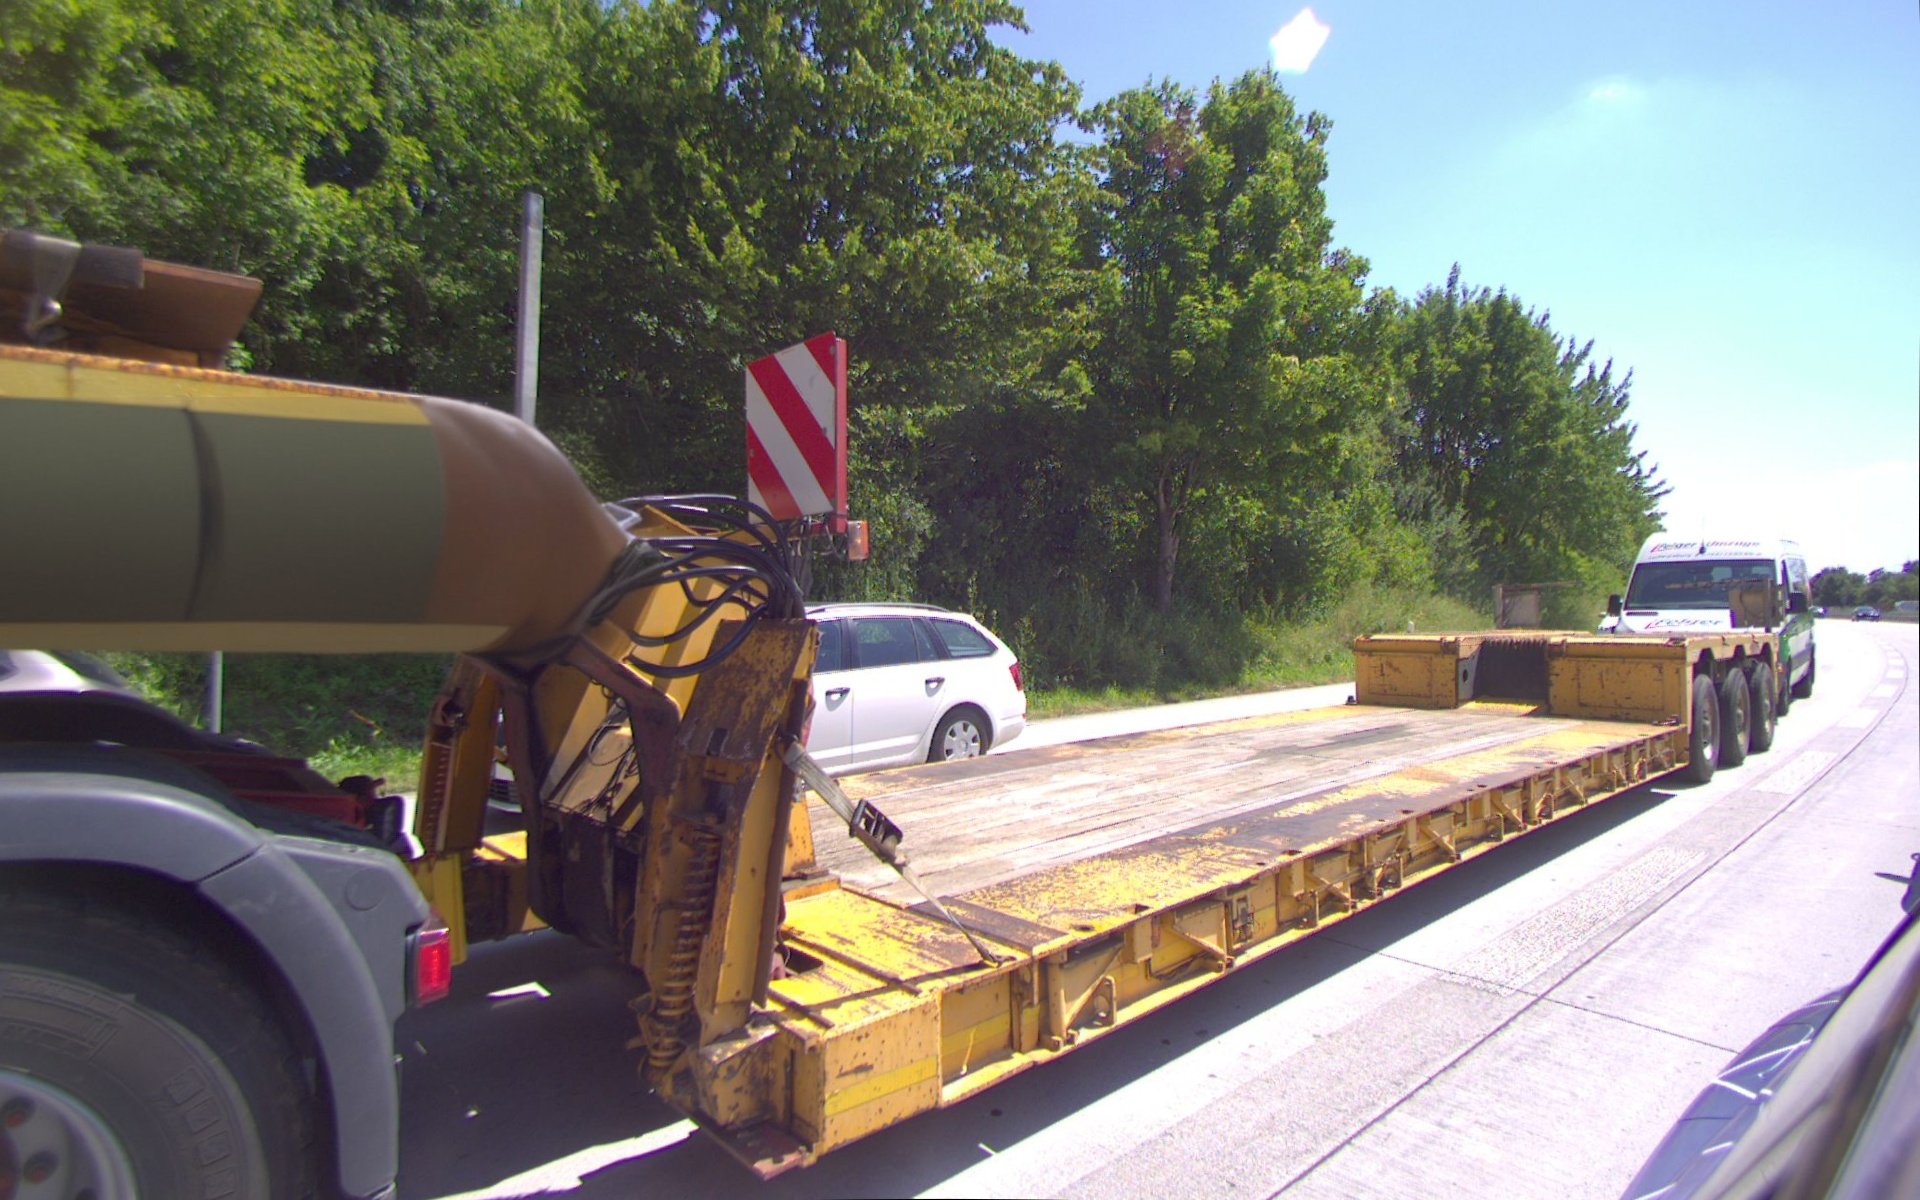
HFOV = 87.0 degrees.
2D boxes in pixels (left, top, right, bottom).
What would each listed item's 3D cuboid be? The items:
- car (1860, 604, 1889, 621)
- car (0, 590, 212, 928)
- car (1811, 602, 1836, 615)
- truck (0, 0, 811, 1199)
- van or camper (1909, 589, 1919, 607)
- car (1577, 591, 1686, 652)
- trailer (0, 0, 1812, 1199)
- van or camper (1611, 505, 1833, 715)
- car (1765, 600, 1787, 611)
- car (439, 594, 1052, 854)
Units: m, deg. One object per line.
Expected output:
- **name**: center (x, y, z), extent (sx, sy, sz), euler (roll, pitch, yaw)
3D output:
- **car**: center (89.703, 1.210, 99.301), extent (1.617, 1.504, 3.950), euler (0, 0, 35)
- **car**: center (-5.829, 0.712, 4.161), extent (4.290, 1.480, 1.770), euler (-1, 0, -42)
- **car**: center (109.767, 1.053, 128.692), extent (1.693, 1.483, 3.958), euler (0, 0, 30)
- **truck**: center (-4.037, -0.502, 0.843), extent (7.342, 3.820, 3.017), euler (0, 0, -42)
- **van or camper**: center (112.520, -0.239, 117.784), extent (2.165, 2.039, 5.568), euler (0, 0, 35)
- **car**: center (18.969, 0.540, 28.512), extent (1.768, 1.581, 4.297), euler (0, 0, 45)
- **trailer**: center (1.851, 0.110, 6.193), extent (16.076, 2.626, 3.031), euler (0, 0, -42)
- **van or camper**: center (11.750, 0.090, 15.406), extent (2.063, 2.606, 5.815), euler (0, 0, 43)
- **car**: center (117.689, 0.731, 146.022), extent (1.876, 1.483, 3.958), euler (0, 0, 30)
- **car**: center (-1.435, 0.702, 8.034), extent (4.521, 1.480, 1.769), euler (0, 0, -43)
